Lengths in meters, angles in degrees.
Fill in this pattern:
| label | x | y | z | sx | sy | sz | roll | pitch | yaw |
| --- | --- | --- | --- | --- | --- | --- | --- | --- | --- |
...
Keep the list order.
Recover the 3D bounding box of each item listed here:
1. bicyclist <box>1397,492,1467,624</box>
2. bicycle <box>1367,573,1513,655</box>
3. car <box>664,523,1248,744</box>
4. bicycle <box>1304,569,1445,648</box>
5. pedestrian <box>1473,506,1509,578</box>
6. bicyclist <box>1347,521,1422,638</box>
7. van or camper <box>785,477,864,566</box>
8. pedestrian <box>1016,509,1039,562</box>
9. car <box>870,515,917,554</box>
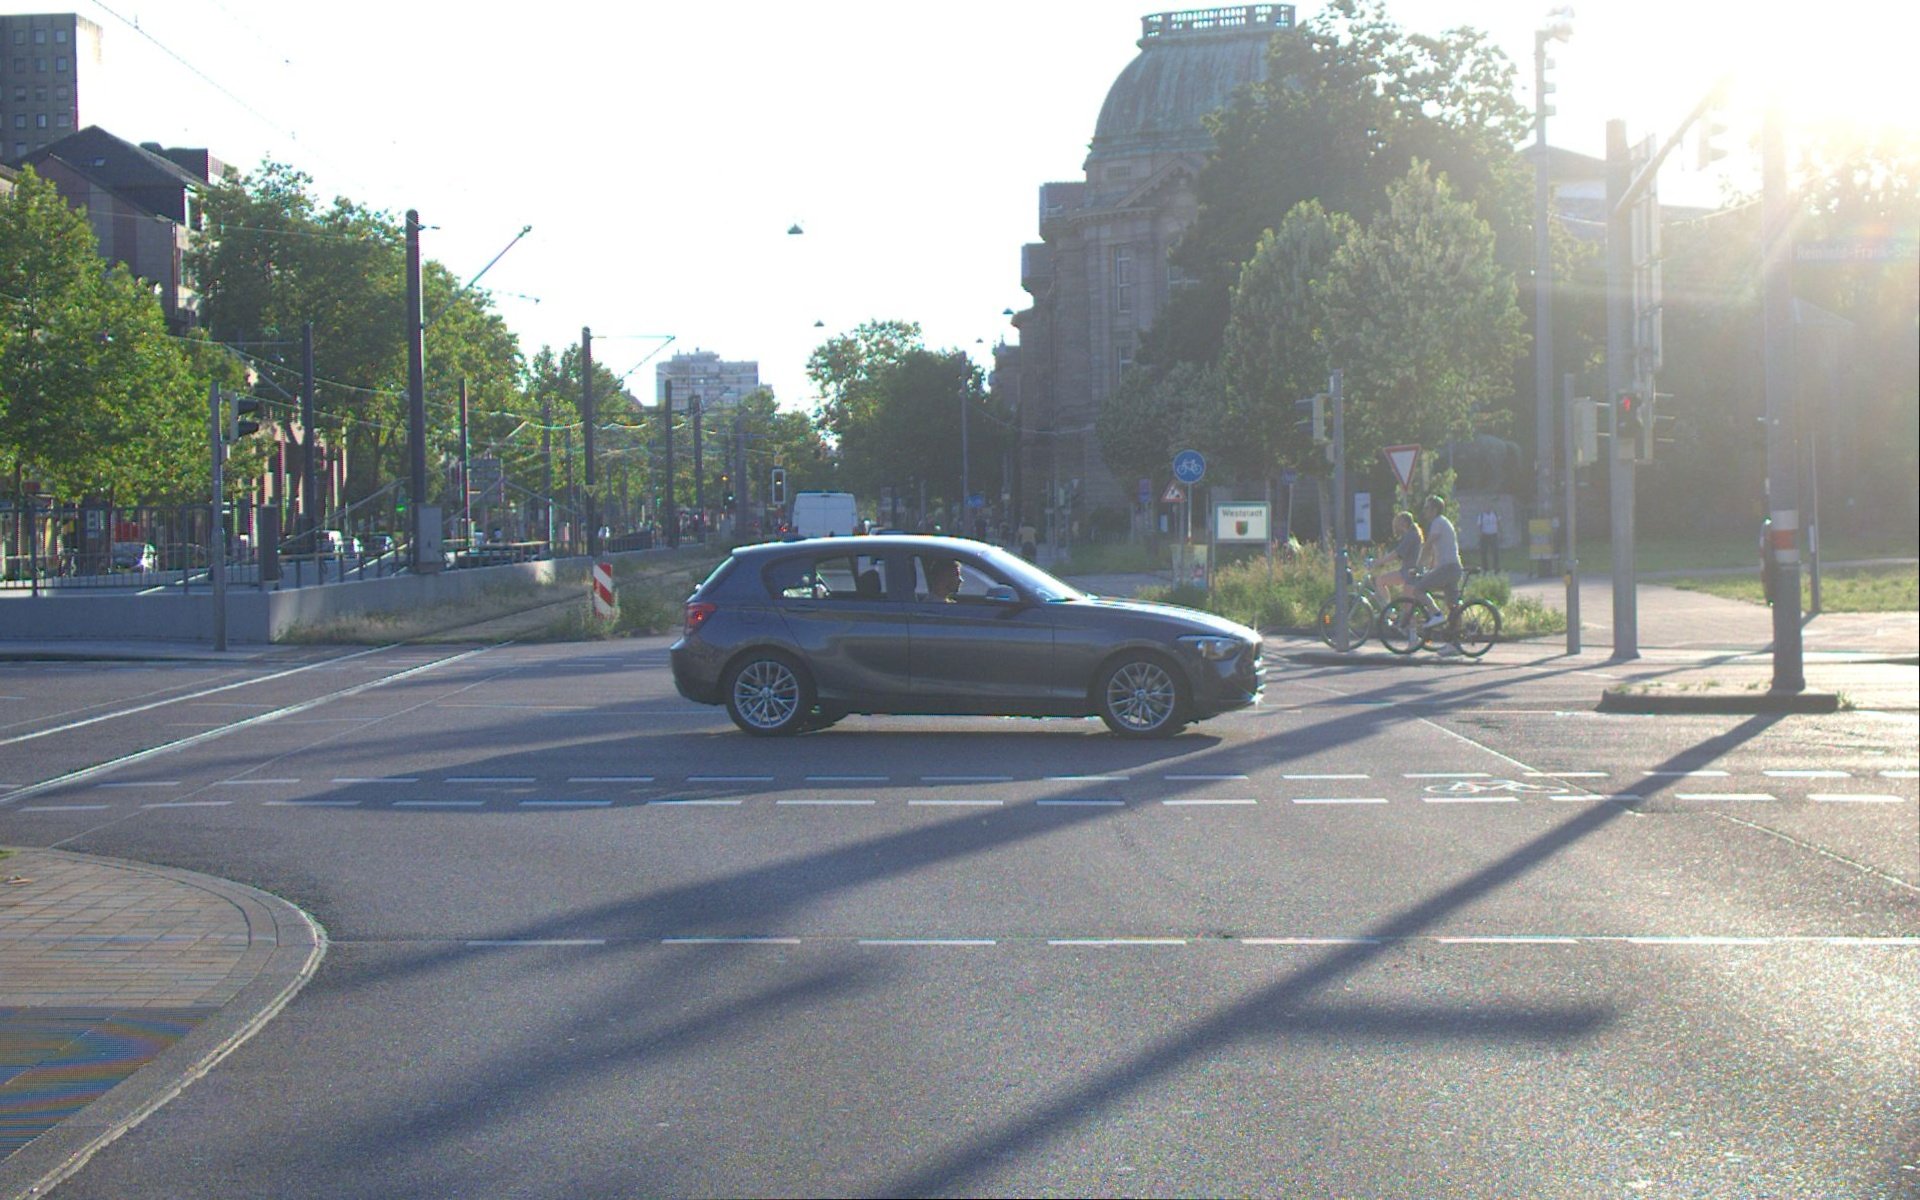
| label | x | y | z | sx | sy | sz | roll | pitch | yaw |
| --- | --- | --- | --- | --- | --- | --- | --- | --- | --- |
| bicyclist | 5.706 | -0.514 | 41.572 | 0.798 | 1.566 | 0.663 | -1 | 2 | 6 |
| bicycle | 5.802 | 0.168 | 41.590 | 1.729 | 0.966 | 0.609 | 0 | 2 | 6 |
| car | 0.009 | 0.205 | 24.996 | 3.989 | 1.429 | 1.718 | 1 | 3 | 11 |
| bicycle | 5.230 | 0.102 | 43.404 | 1.718 | 0.966 | 0.609 | 0 | 2 | 1 |
| pedestrian | 12.100 | -1.321 | 78.353 | 0.682 | 1.605 | 0.613 | -1 | 2 | -1 |
| bicyclist | 5.359 | -0.260 | 43.392 | 0.853 | 1.437 | 0.663 | -1 | 2 | 1 |
| van or camper | -4.195 | -2.473 | 106.891 | 2.263 | 2.615 | 4.503 | -1 | 3 | 0 |
| pedestrian | 1.933 | -1.850 | 98.208 | 0.616 | 1.470 | 0.800 | -1 | 2 | 3 |
| car | -2.569 | -2.557 | 133.284 | 1.737 | 1.381 | 4.001 | -1 | 3 | 0 |
